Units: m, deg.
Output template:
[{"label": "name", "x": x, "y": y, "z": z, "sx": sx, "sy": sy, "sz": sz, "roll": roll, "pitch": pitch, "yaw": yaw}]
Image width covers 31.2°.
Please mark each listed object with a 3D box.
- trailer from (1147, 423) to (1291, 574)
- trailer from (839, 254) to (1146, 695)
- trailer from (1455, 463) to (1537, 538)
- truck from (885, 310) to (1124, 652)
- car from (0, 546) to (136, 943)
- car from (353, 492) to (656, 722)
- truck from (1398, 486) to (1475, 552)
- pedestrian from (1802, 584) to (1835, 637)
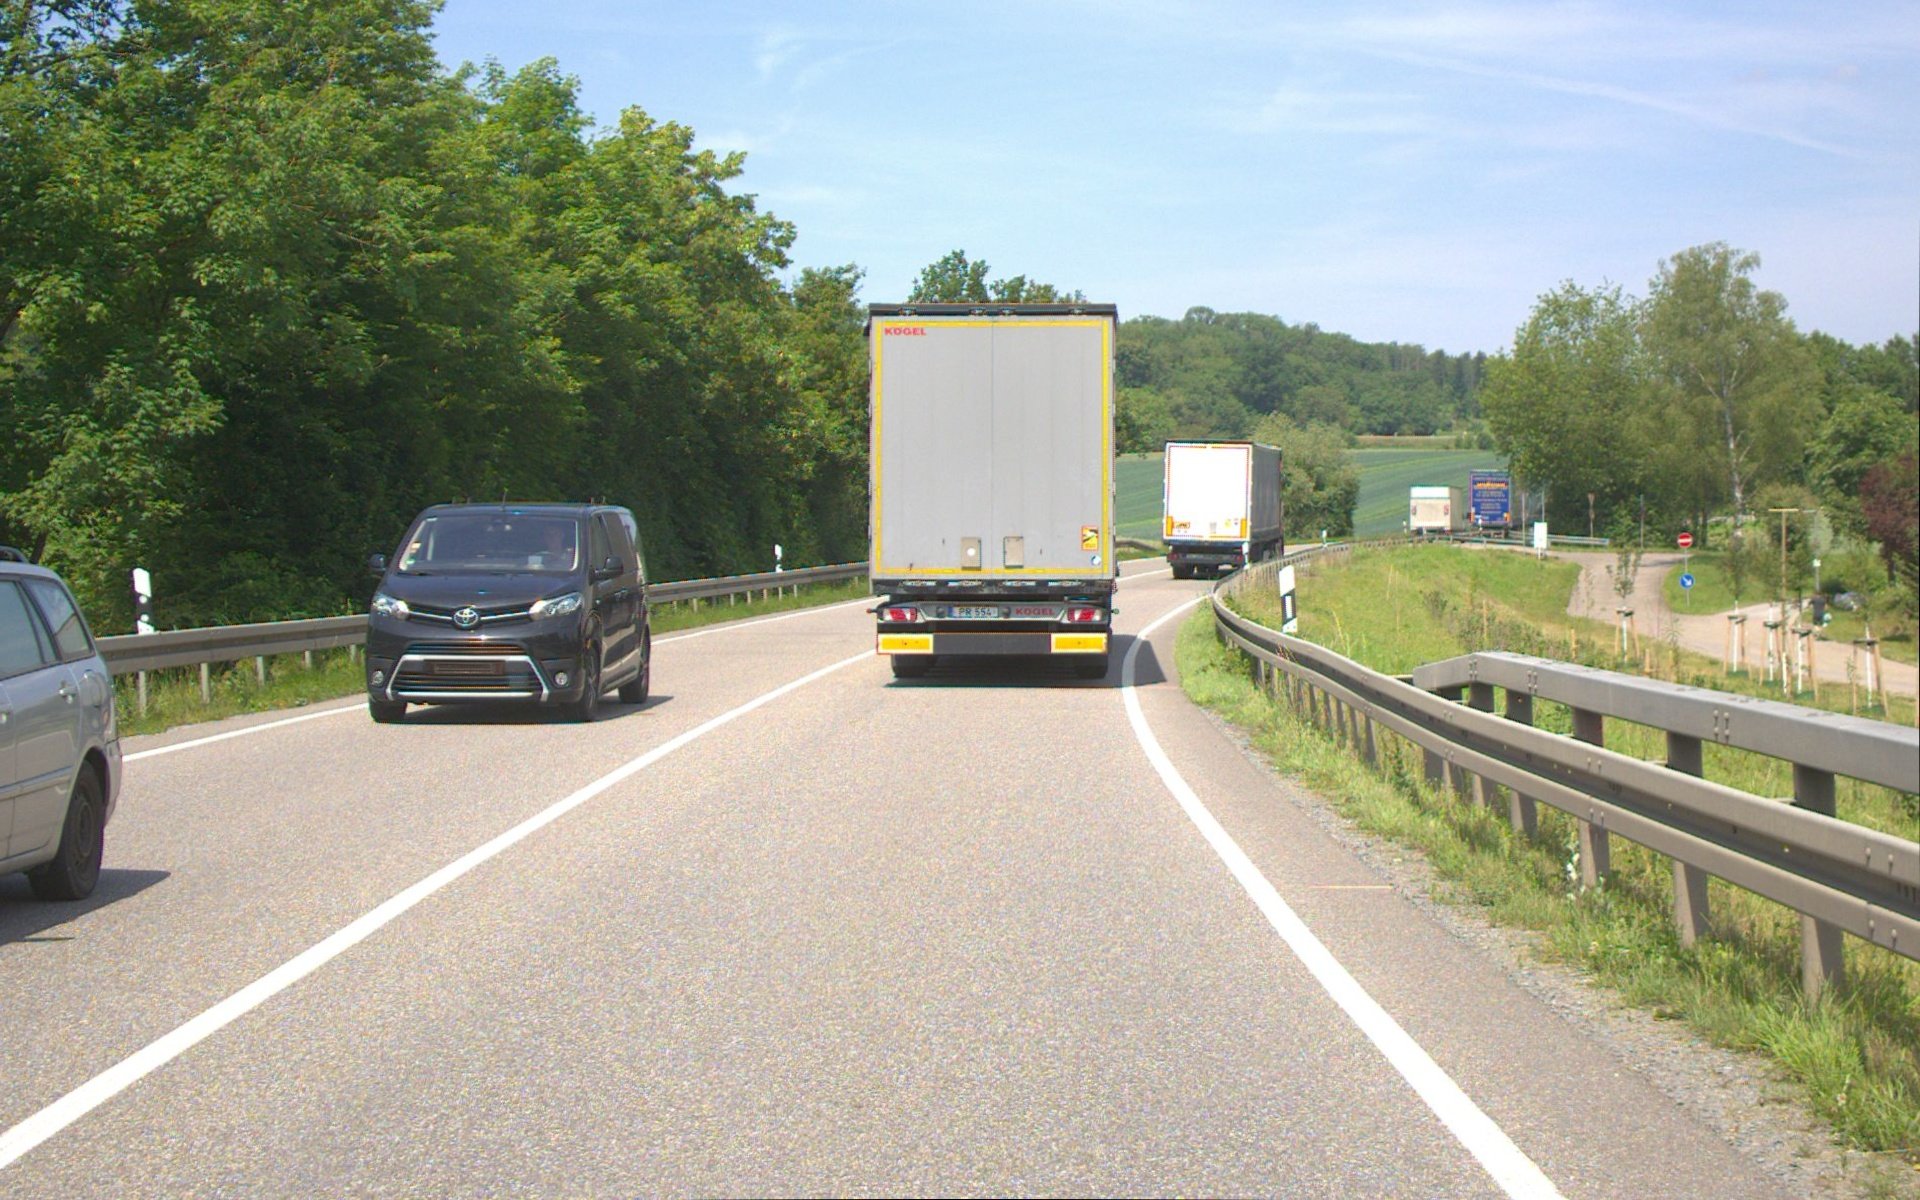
[{"label": "trailer", "x": 8.045, "y": -2.957, "z": 105.073, "sx": 3.366, "sy": 4.302, "sz": 13.859, "roll": 0, "pitch": 0, "yaw": 9}, {"label": "trailer", "x": 0.514, "y": -1.453, "z": 42.073, "sx": 3.118, "sy": 4.484, "sz": 13.886, "roll": 0, "pitch": 1, "yaw": 2}, {"label": "trailer", "x": 32.492, "y": -5.946, "z": 208.057, "sx": 3.650, "sy": 4.248, "sz": 12.186, "roll": 0, "pitch": 0, "yaw": 15}, {"label": "truck", "x": 0.712, "y": -1.651, "z": 48.701, "sx": 3.118, "sy": 4.479, "sz": 6.811, "roll": 0, "pitch": 1, "yaw": 2}, {"label": "car", "x": -4.481, "y": 0.538, "z": 12.969, "sx": 1.768, "sy": 1.489, "sz": 4.170, "roll": 0, "pitch": 1, "yaw": 0}, {"label": "car", "x": -3.919, "y": 0.012, "z": 30.420, "sx": 1.922, "sy": 1.853, "sz": 5.176, "roll": 0, "pitch": 1, "yaw": 1}, {"label": "truck", "x": 25.922, "y": -4.348, "z": 186.610, "sx": 3.224, "sy": 3.354, "sz": 11.868, "roll": 0, "pitch": 0, "yaw": 13}, {"label": "pedestrian", "x": 30.341, "y": 0.370, "z": 121.514, "sx": 0.885, "sy": 1.804, "sz": 0.959, "roll": -3, "pitch": 1, "yaw": 1}]
